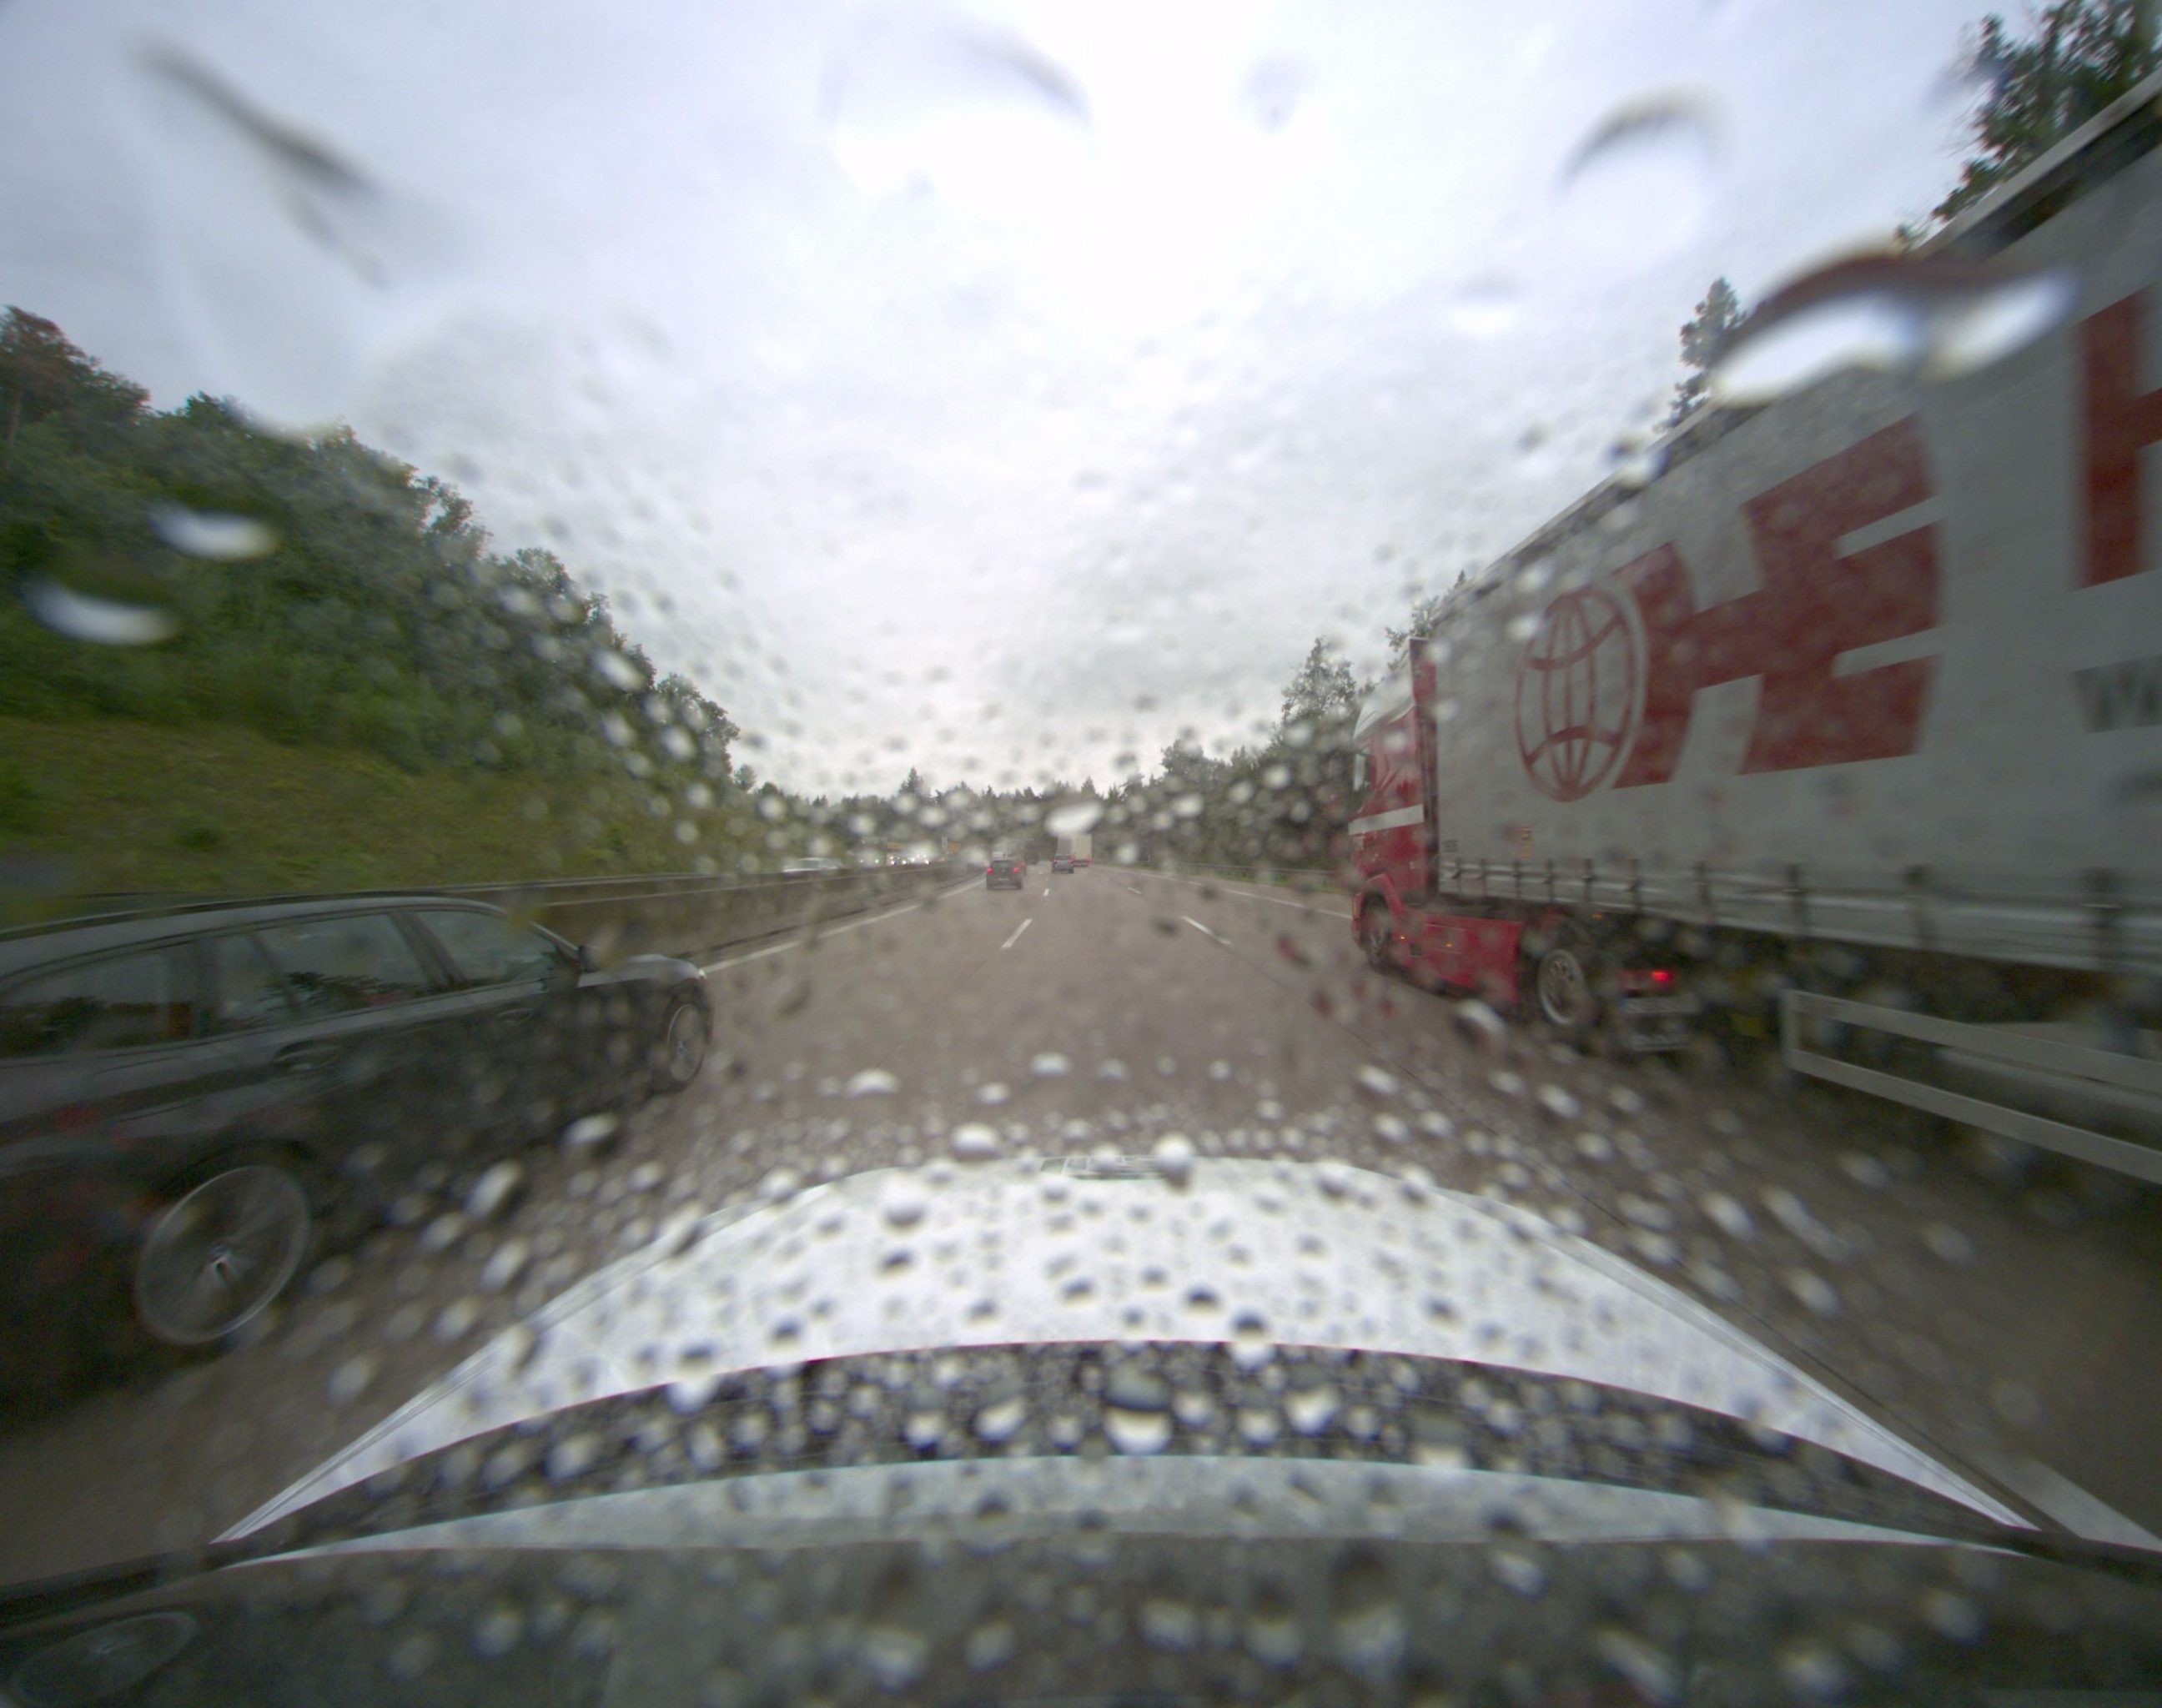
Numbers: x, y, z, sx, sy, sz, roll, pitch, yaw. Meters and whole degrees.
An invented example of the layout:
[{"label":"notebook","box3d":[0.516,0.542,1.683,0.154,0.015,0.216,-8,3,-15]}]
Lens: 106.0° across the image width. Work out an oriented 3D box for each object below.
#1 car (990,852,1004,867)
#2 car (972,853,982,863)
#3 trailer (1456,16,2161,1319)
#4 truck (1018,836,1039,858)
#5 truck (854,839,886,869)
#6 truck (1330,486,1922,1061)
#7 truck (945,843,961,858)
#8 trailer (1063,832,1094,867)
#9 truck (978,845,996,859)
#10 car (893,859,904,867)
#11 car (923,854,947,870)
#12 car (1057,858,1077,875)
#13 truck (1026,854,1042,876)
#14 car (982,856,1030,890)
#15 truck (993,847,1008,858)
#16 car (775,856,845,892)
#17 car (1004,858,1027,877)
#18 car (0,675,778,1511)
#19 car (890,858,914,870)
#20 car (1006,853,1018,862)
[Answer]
[{"label":"car","box3d":[-12.064,0.774,117.425,1.721,2.013,3.653,-1,0,-3]},{"label":"car","box3d":[-20.768,0.793,162.442,1.992,2.059,3.988,-1,0,-8]},{"label":"trailer","box3d":[4.419,-0.569,1.205,2.361,3.954,12.527,-1,0,2]},{"label":"truck","box3d":[-10.110,-1.303,155.425,3.366,4.131,10.413,0,0,-7]},{"label":"truck","box3d":[-29.026,-0.050,112.319,2.922,3.960,8.104,-1,0,-5]},{"label":"truck","box3d":[4.716,-0.563,8.739,2.366,3.954,6.163,-1,0,2]},{"label":"truck","box3d":[-37.770,-0.988,240.934,3.748,4.210,6.779,-1,0,-17]},{"label":"trailer","box3d":[-0.417,-0.551,101.482,2.417,4.068,12.026,0,0,-7]},{"label":"truck","box3d":[-20.582,-0.483,177.797,3.085,2.905,7.871,0,1,-12]},{"label":"car","box3d":[-35.228,1.665,157.253,1.728,1.493,3.992,-1,0,-6]},{"label":"car","box3d":[-16.641,0.902,92.906,1.988,1.768,4.534,-1,0,-2]},{"label":"car","box3d":[-1.179,1.061,68.739,1.550,1.351,3.680,2,0,-2]},{"label":"truck","box3d":[-6.950,1.596,120.987,2.265,2.886,7.893,0,1,-4]},{"label":"car","box3d":[-3.509,0.869,38.593,1.676,1.462,3.687,2,0,3]},{"label":"truck","box3d":[-18.507,-0.409,186.905,2.976,2.309,6.642,2,0,-11]},{"label":"car","box3d":[-12.380,0.864,37.421,1.736,1.561,4.283,-1,0,0]},{"label":"car","box3d":[-5.042,1.009,63.340,1.549,1.351,3.681,2,0,-2]},{"label":"car","box3d":[-3.443,0.568,3.414,1.901,1.945,6.164,-1,0,1]},{"label":"car","box3d":[-20.858,1.110,95.051,1.989,1.293,4.292,-1,0,-3]},{"label":"car","box3d":[-11.644,0.542,136.824,1.878,1.473,3.995,2,0,-4]}]
